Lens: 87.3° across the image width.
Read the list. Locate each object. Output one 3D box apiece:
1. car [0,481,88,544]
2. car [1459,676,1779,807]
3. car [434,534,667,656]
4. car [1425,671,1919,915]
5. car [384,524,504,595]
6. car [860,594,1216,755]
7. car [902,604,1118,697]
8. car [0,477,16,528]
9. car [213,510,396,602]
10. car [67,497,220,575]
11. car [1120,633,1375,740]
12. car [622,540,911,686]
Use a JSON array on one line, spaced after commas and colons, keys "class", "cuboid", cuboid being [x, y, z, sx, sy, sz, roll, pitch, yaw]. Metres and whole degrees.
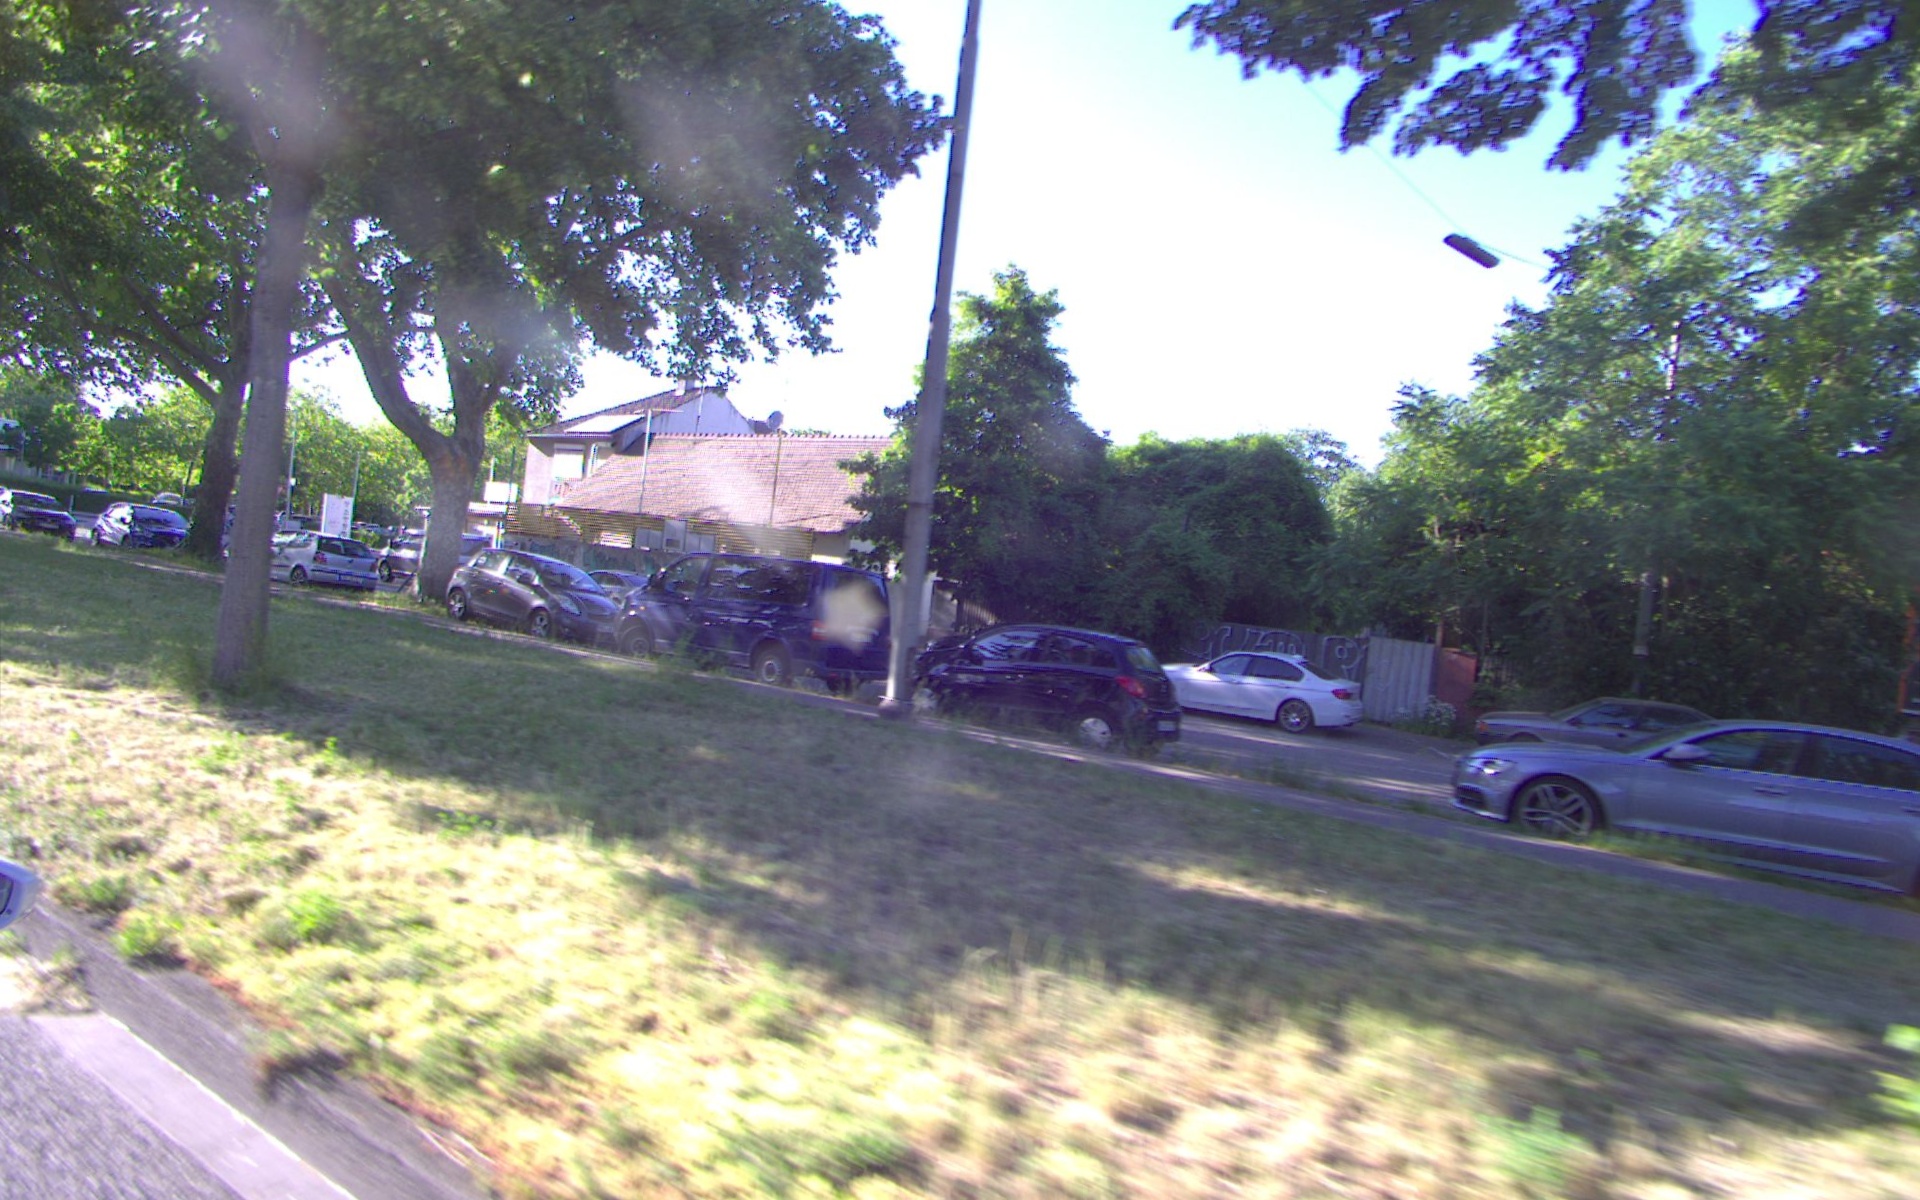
[{"class": "car", "cuboid": [-31.238, -2.981, 33.510, 3.930, 1.703, 1.876, 6, -2, 28]}, {"class": "car", "cuboid": [10.991, 2.285, 17.104, 4.243, 1.389, 1.731, 6, 2, 33]}, {"class": "car", "cuboid": [-7.536, -0.109, 18.450, 3.934, 1.703, 1.874, 6, -2, 32]}, {"class": "car", "cuboid": [7.021, 1.714, 9.198, 4.817, 1.450, 1.876, 6, -2, 28]}, {"class": "car", "cuboid": [-18.105, -1.427, 35.233, 3.936, 2.040, 1.993, 6, 1, 34]}, {"class": "car", "cuboid": [0.961, 0.885, 12.654, 3.931, 1.383, 1.876, 6, -2, 28]}, {"class": "car", "cuboid": [1.131, 1.134, 23.631, 4.611, 1.567, 1.873, 6, 1, 30]}, {"class": "car", "cuboid": [-35.260, -3.645, 35.340, 3.932, 1.703, 1.875, 6, -2, 30]}, {"class": "car", "cuboid": [-15.608, -1.051, 23.945, 3.930, 1.705, 1.874, 6, 1, 28]}, {"class": "car", "cuboid": [-23.447, -1.846, 28.884, 3.930, 1.703, 1.876, 6, -2, 28]}, {"class": "car", "cuboid": [5.848, 1.677, 20.628, 4.611, 1.502, 1.872, 6, 2, 30]}, {"class": "car", "cuboid": [-2.999, 0.188, 15.497, 3.931, 1.703, 1.876, 6, -2, 28]}]
